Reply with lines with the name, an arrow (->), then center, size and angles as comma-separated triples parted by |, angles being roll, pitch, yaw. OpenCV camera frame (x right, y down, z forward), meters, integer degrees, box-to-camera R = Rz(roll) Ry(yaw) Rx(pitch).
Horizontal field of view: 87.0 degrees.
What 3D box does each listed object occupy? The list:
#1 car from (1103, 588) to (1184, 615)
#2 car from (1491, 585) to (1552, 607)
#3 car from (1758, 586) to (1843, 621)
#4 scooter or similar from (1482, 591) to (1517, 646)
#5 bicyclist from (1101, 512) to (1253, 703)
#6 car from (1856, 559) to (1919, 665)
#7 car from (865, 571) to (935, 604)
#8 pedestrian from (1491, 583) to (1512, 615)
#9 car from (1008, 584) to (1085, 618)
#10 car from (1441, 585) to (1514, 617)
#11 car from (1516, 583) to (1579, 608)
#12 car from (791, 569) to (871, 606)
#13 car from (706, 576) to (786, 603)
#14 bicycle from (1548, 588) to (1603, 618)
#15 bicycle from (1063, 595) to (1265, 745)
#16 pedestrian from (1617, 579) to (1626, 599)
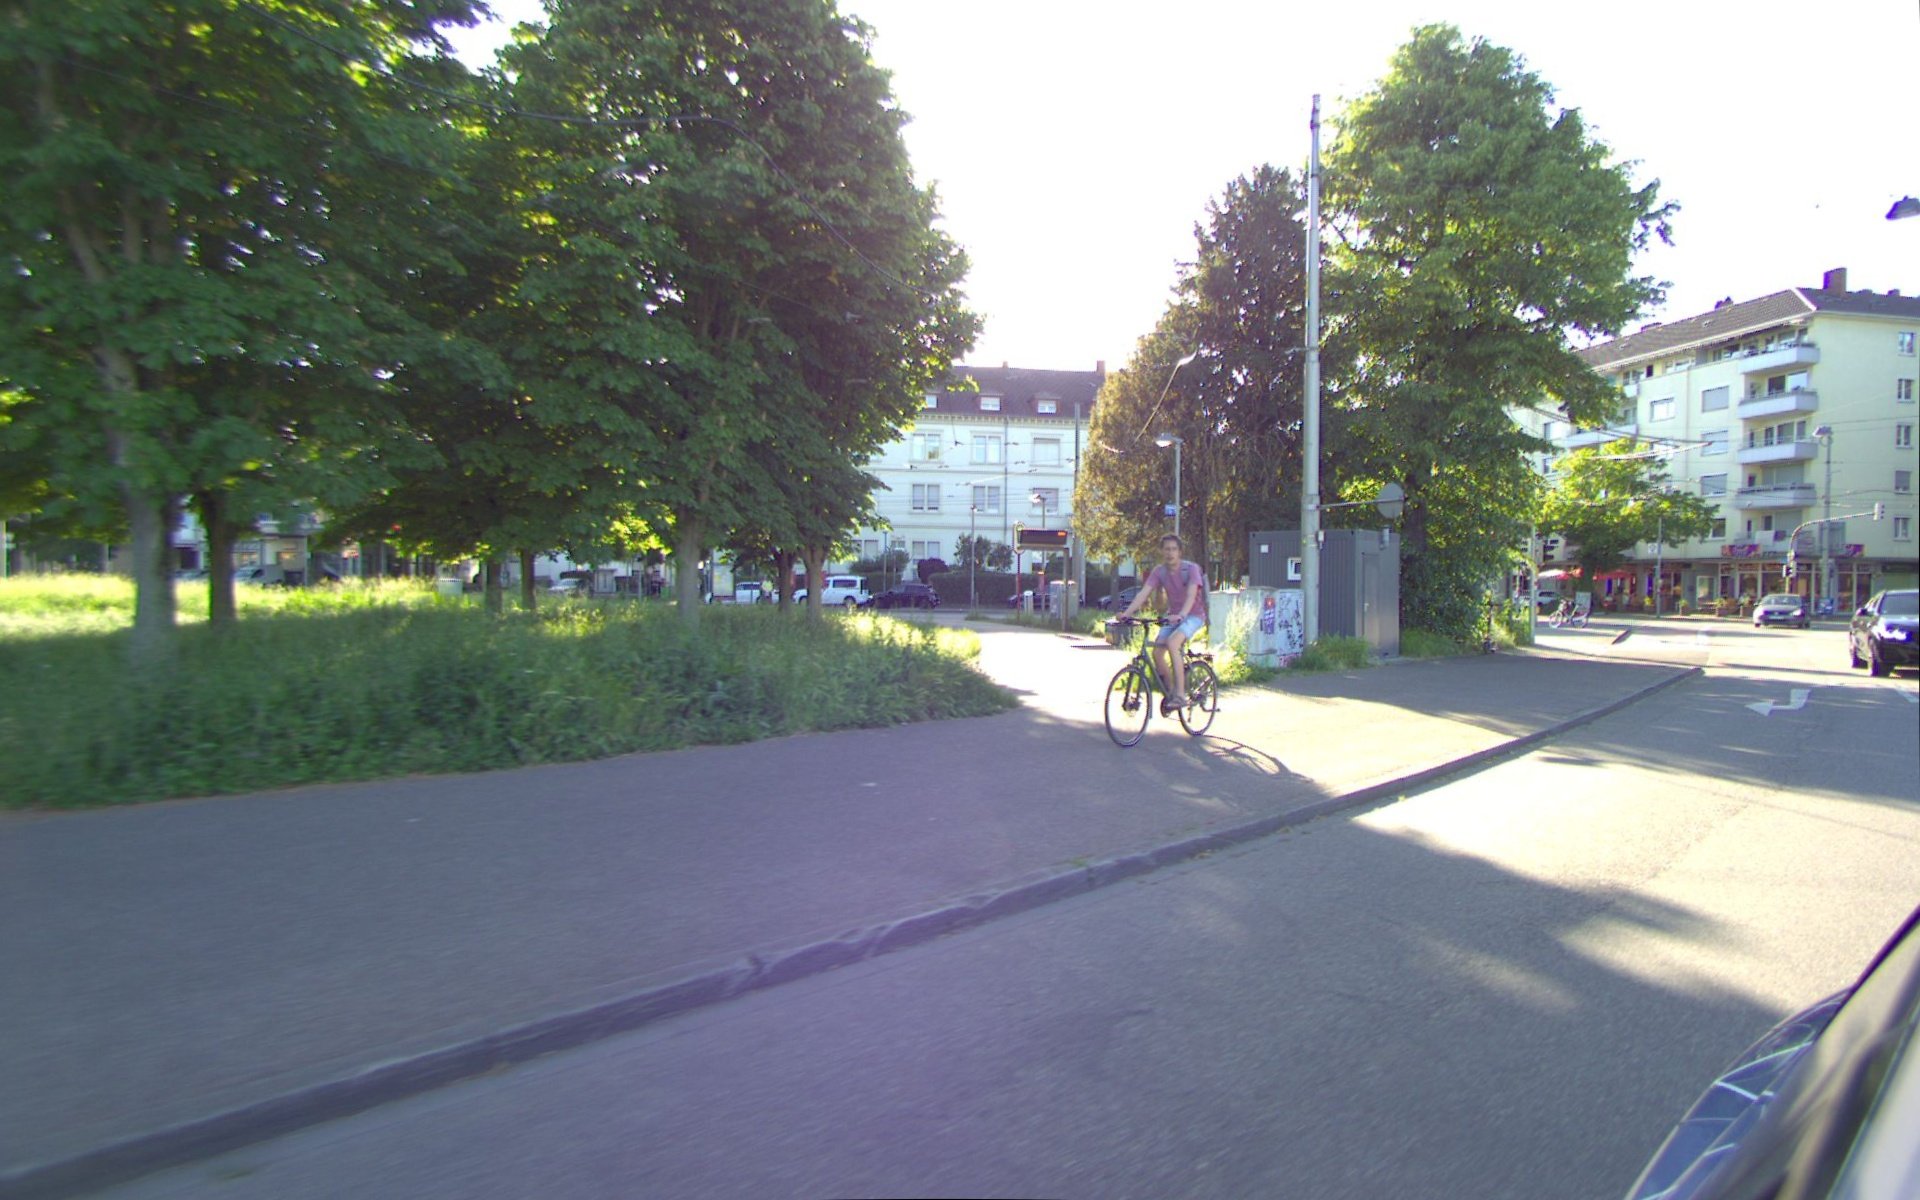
car -> 9.976, 0.067, 55.330 | 4.112, 1.362, 1.997 | -2, 0, 5
car -> 37.786, -0.279, 68.129 | 3.136, 1.420, 1.580 | -2, 0, -3
car -> 36.004, 0.155, 43.349 | 3.573, 1.459, 1.704 | 1, -1, -31
scooter or similar -> 12.818, 0.441, 24.039 | 0.383, 1.233, 1.808 | 3, 1, 37
bicyclist -> 1.991, 0.051, 9.288 | 1.129, 1.619, 0.813 | 0, 1, -40
car -> 19.559, 0.160, 20.215 | 1.929, 1.958, 4.467 | -2, 0, 35
car -> -3.769, -0.814, 64.049 | 4.112, 1.943, 1.997 | -2, 0, 5
pedestrian -> 27.470, -0.067, 51.347 | 0.660, 1.612, 0.727 | -2, 0, 5
car -> 4.793, 0.047, 56.122 | 4.112, 1.738, 1.997 | -2, 0, 5
car -> 31.633, 0.039, 61.985 | 1.819, 1.829, 4.225 | -2, 0, -7
car -> 38.045, -0.266, 65.550 | 3.136, 1.506, 1.580 | -2, 0, -3
car -> -7.392, -0.717, 58.235 | 4.257, 1.989, 1.907 | -2, 0, 6
car -> -12.500, -0.611, 59.264 | 4.302, 1.446, 1.689 | -2, 0, 6
bicycle -> 23.604, 0.112, 38.829 | 1.769, 1.141, 0.629 | 1, -1, -6
bicycle -> 1.896, 0.578, 9.231 | 1.965, 1.207, 0.720 | 0, 1, -40
pedestrian -> 42.867, -0.725, 65.584 | 0.485, 1.293, 0.384 | 2, -2, -37
